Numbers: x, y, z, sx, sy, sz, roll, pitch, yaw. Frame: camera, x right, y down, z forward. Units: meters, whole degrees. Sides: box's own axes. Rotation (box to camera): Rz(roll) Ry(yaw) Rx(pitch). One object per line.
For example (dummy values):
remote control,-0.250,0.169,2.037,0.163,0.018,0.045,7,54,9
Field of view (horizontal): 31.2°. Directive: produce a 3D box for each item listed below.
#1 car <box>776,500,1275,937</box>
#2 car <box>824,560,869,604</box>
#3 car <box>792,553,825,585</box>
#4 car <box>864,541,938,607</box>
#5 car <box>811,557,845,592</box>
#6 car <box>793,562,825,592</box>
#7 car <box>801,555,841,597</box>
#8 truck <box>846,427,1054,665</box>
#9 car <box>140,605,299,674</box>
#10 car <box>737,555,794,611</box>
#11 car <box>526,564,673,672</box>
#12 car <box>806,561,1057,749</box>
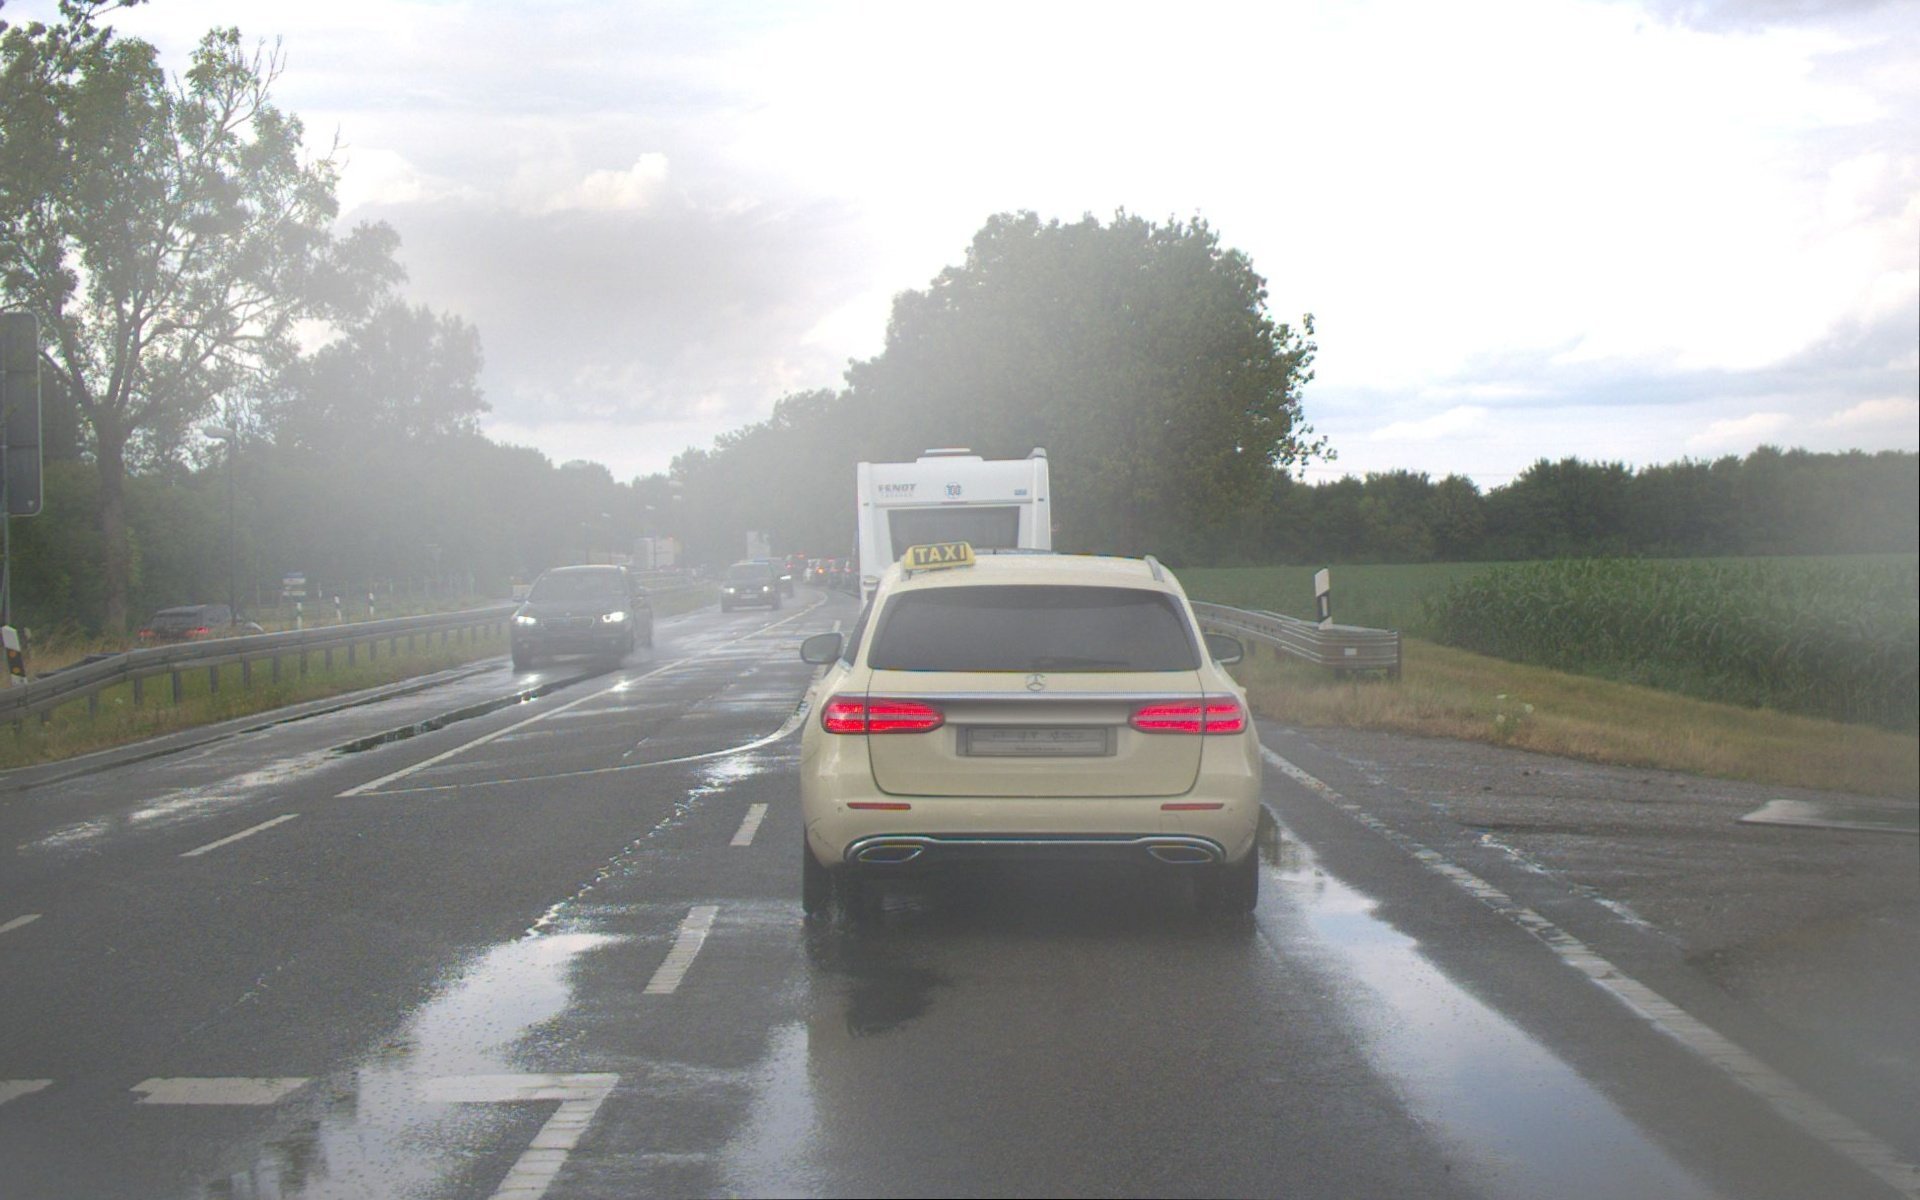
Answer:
car,0.223,0.418,14.764,1.842,1.612,4.000,0,1,-1
car,-4.771,-0.771,144.511,1.791,1.771,3.721,-1,1,-1
car,-9.175,-1.861,208.653,1.895,1.888,3.844,-1,1,-3
car,-1.676,-0.756,98.873,1.915,1.834,3.795,-1,1,2
car,-7.283,-1.409,190.327,1.740,1.853,3.785,-1,1,-1
car,-8.784,-1.352,199.586,1.748,1.656,3.673,-1,1,-4
car,-6.897,-1.211,171.392,1.852,2.007,3.811,-1,1,-1
truck,-0.153,-0.679,43.651,2.363,2.719,7.314,-1,1,-1
car,-17.748,0.918,82.624,2.302,1.542,4.631,1,0,8
car,-5.853,-0.530,103.684,1.580,1.634,3.442,-1,1,-1
car,-5.487,0.242,52.776,1.828,1.568,4.000,1,0,0
car,-0.254,0.428,29.959,1.993,1.457,4.000,2,0,-1
